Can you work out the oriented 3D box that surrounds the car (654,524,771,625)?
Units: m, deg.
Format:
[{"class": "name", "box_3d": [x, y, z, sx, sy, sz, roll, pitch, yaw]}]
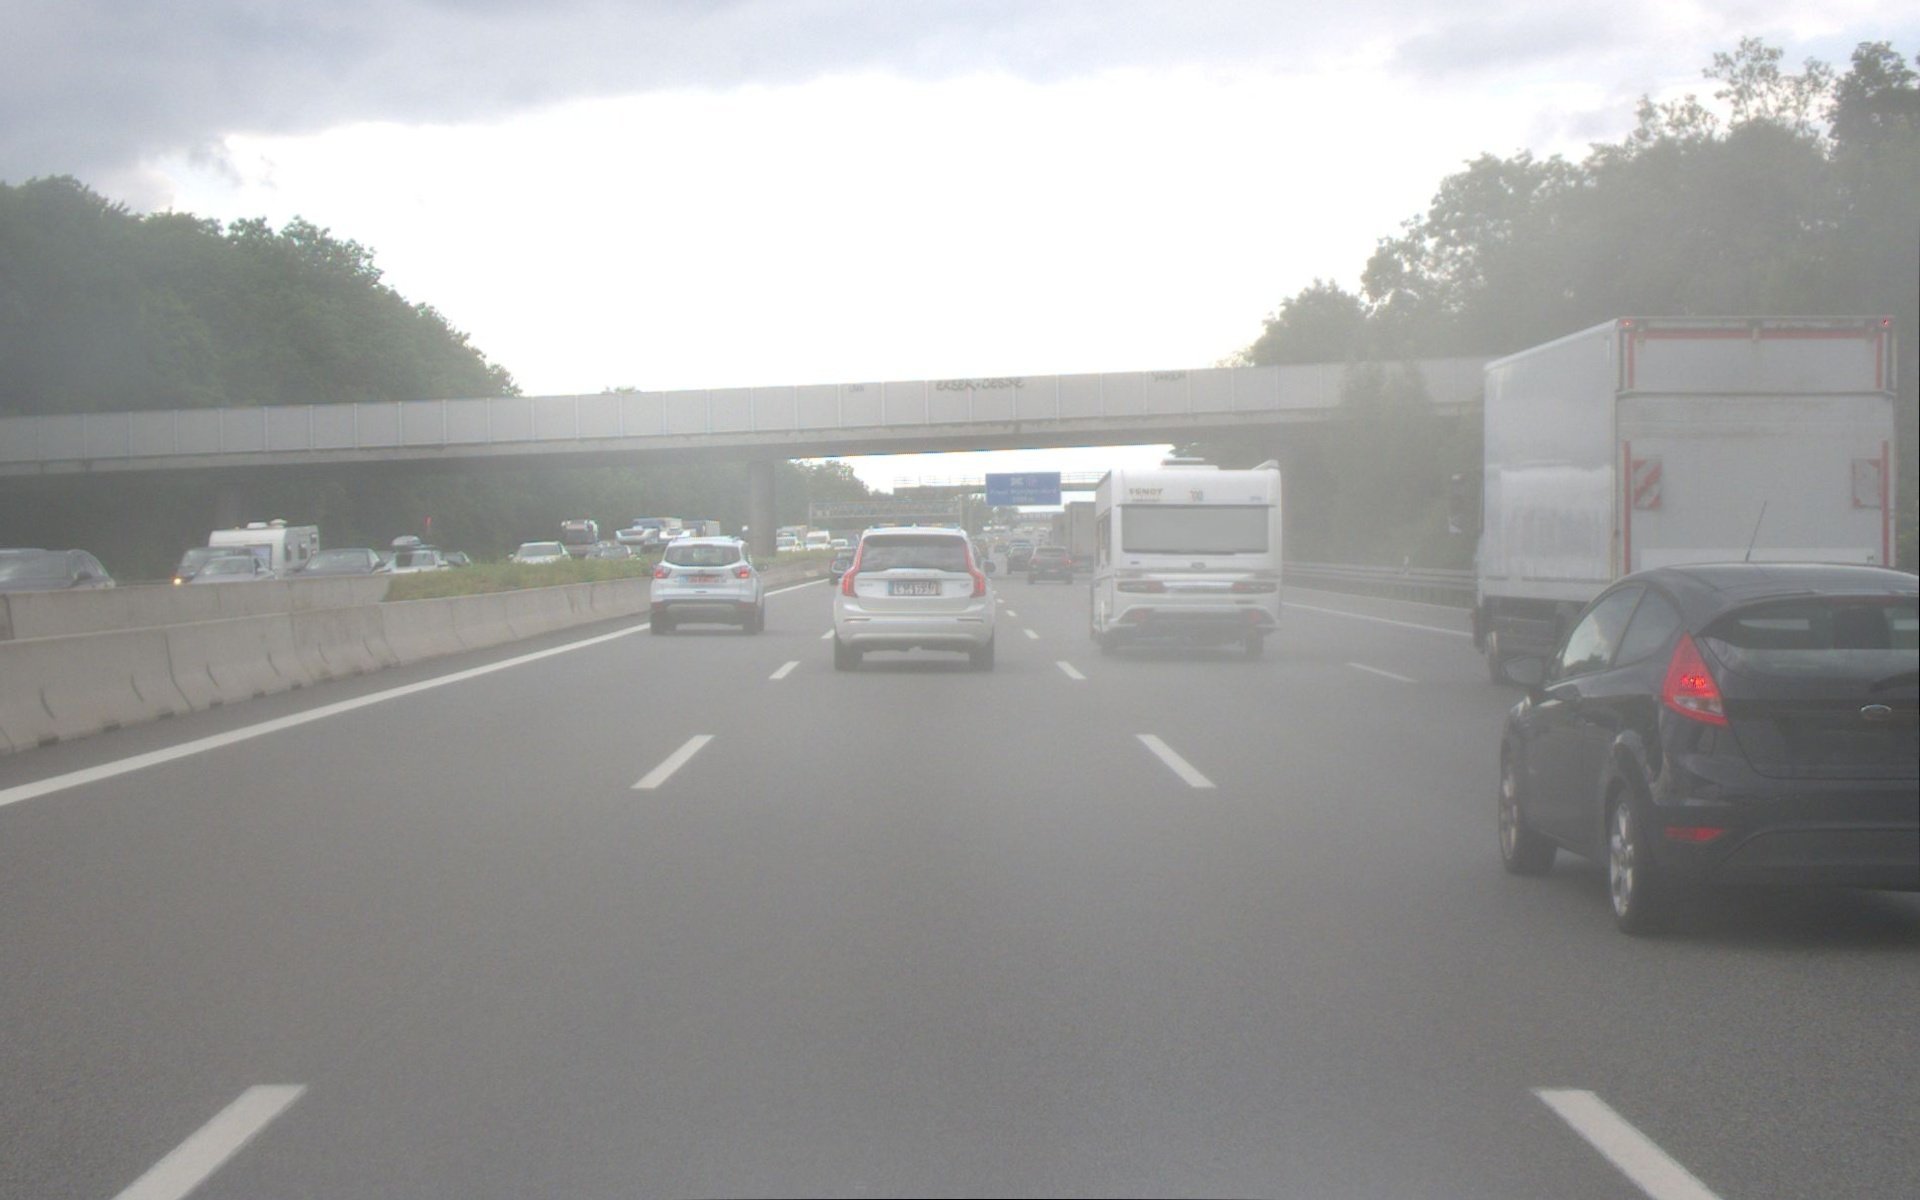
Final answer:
[{"class": "car", "box_3d": [-4.315, -0.486, 60.497, 1.815, 1.684, 4.852, 0, 2, -1]}]

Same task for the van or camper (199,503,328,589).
[{"class": "van or camper", "box_3d": [-22.746, -1.797, 112.660, 2.605, 2.697, 8.125, 0, 1, 0]}]

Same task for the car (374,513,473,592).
[{"class": "car", "box_3d": [-15.172, -1.361, 97.454, 1.993, 2.174, 5.289, 0, 1, 0]}]

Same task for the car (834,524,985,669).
[{"class": "car", "box_3d": [-0.594, -0.088, 42.845, 1.781, 1.710, 4.353, 0, 1, 0]}]

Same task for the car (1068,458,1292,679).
[{"class": "car", "box_3d": [2.992, -0.485, 48.657, 2.567, 2.885, 7.534, 0, 1, -1]}]

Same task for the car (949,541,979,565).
[{"class": "car", "box_3d": [0.262, -3.380, 246.433, 1.881, 1.680, 4.001, 0, 1, -4]}]

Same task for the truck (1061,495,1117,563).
[{"class": "truck", "box_3d": [7.380, -4.068, 197.258, 2.906, 3.797, 7.274, 0, 1, 0]}]

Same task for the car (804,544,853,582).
[{"class": "car", "box_3d": [-5.140, -1.466, 134.885, 1.781, 1.476, 4.353, 0, 1, -1]}]

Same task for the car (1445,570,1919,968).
[{"class": "car", "box_3d": [3.327, 0.599, 14.690, 1.885, 1.402, 4.283, 0, 1, 0]}]

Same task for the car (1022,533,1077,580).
[{"class": "car", "box_3d": [3.522, -1.746, 135.959, 2.043, 1.817, 4.904, 0, 1, 0]}]

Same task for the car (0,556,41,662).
[{"class": "car", "box_3d": [-18.890, 0.171, 64.341, 1.993, 1.945, 5.225, 0, 1, 0]}]

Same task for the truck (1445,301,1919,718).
[{"class": "truck", "box_3d": [7.248, -0.908, 35.452, 3.133, 3.697, 9.848, 0, 1, 0]}]

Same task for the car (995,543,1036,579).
[{"class": "car", "box_3d": [2.853, -2.039, 178.676, 2.043, 1.817, 4.904, 0, 1, 0]}]
